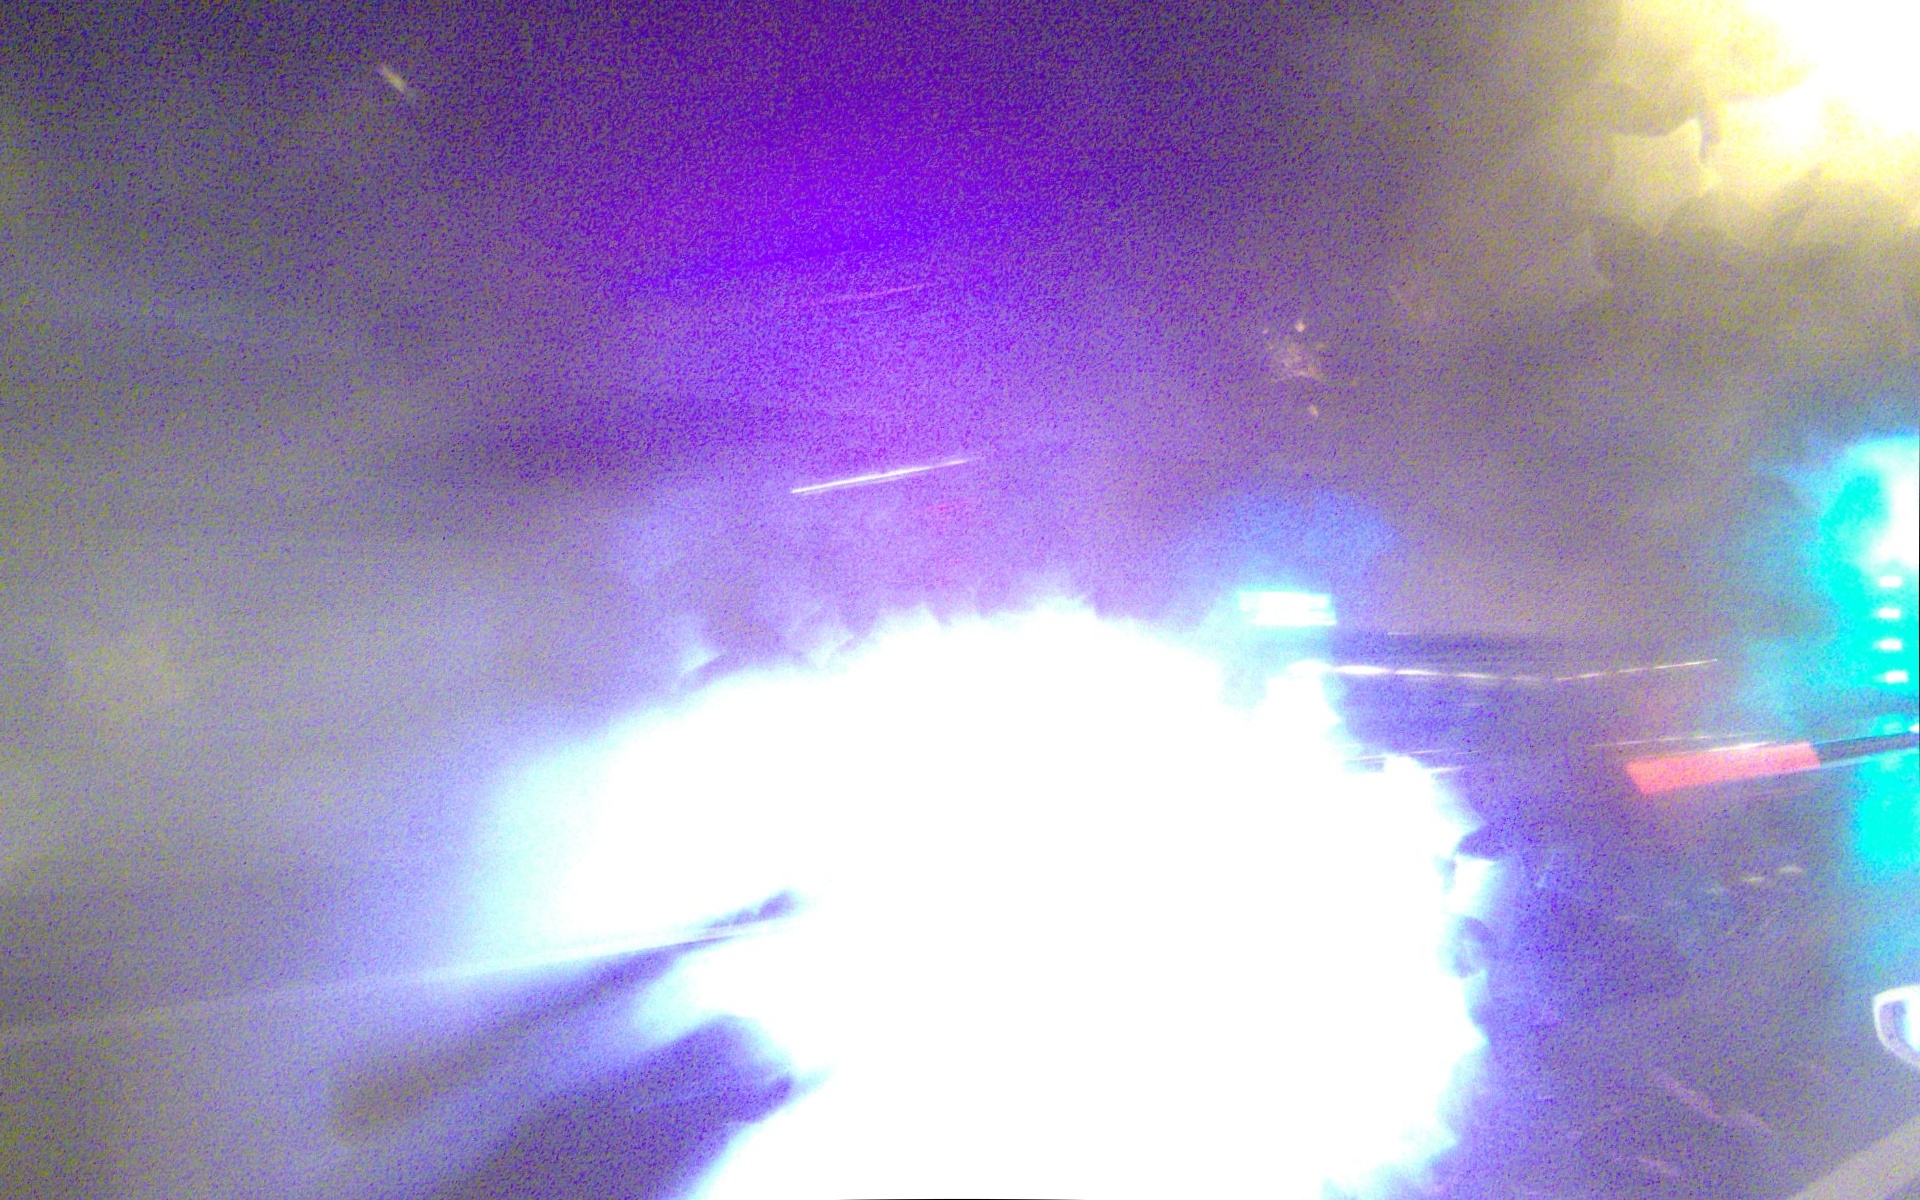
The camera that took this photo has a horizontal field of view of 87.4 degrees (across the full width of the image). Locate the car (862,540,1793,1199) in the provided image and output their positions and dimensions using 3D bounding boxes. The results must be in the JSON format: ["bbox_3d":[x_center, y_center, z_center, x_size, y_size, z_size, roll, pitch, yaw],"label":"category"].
[{"bbox_3d":[1.639,0.712,4.166,3.731,1.672,1.623,1,0,-31],"label":"car"}]
